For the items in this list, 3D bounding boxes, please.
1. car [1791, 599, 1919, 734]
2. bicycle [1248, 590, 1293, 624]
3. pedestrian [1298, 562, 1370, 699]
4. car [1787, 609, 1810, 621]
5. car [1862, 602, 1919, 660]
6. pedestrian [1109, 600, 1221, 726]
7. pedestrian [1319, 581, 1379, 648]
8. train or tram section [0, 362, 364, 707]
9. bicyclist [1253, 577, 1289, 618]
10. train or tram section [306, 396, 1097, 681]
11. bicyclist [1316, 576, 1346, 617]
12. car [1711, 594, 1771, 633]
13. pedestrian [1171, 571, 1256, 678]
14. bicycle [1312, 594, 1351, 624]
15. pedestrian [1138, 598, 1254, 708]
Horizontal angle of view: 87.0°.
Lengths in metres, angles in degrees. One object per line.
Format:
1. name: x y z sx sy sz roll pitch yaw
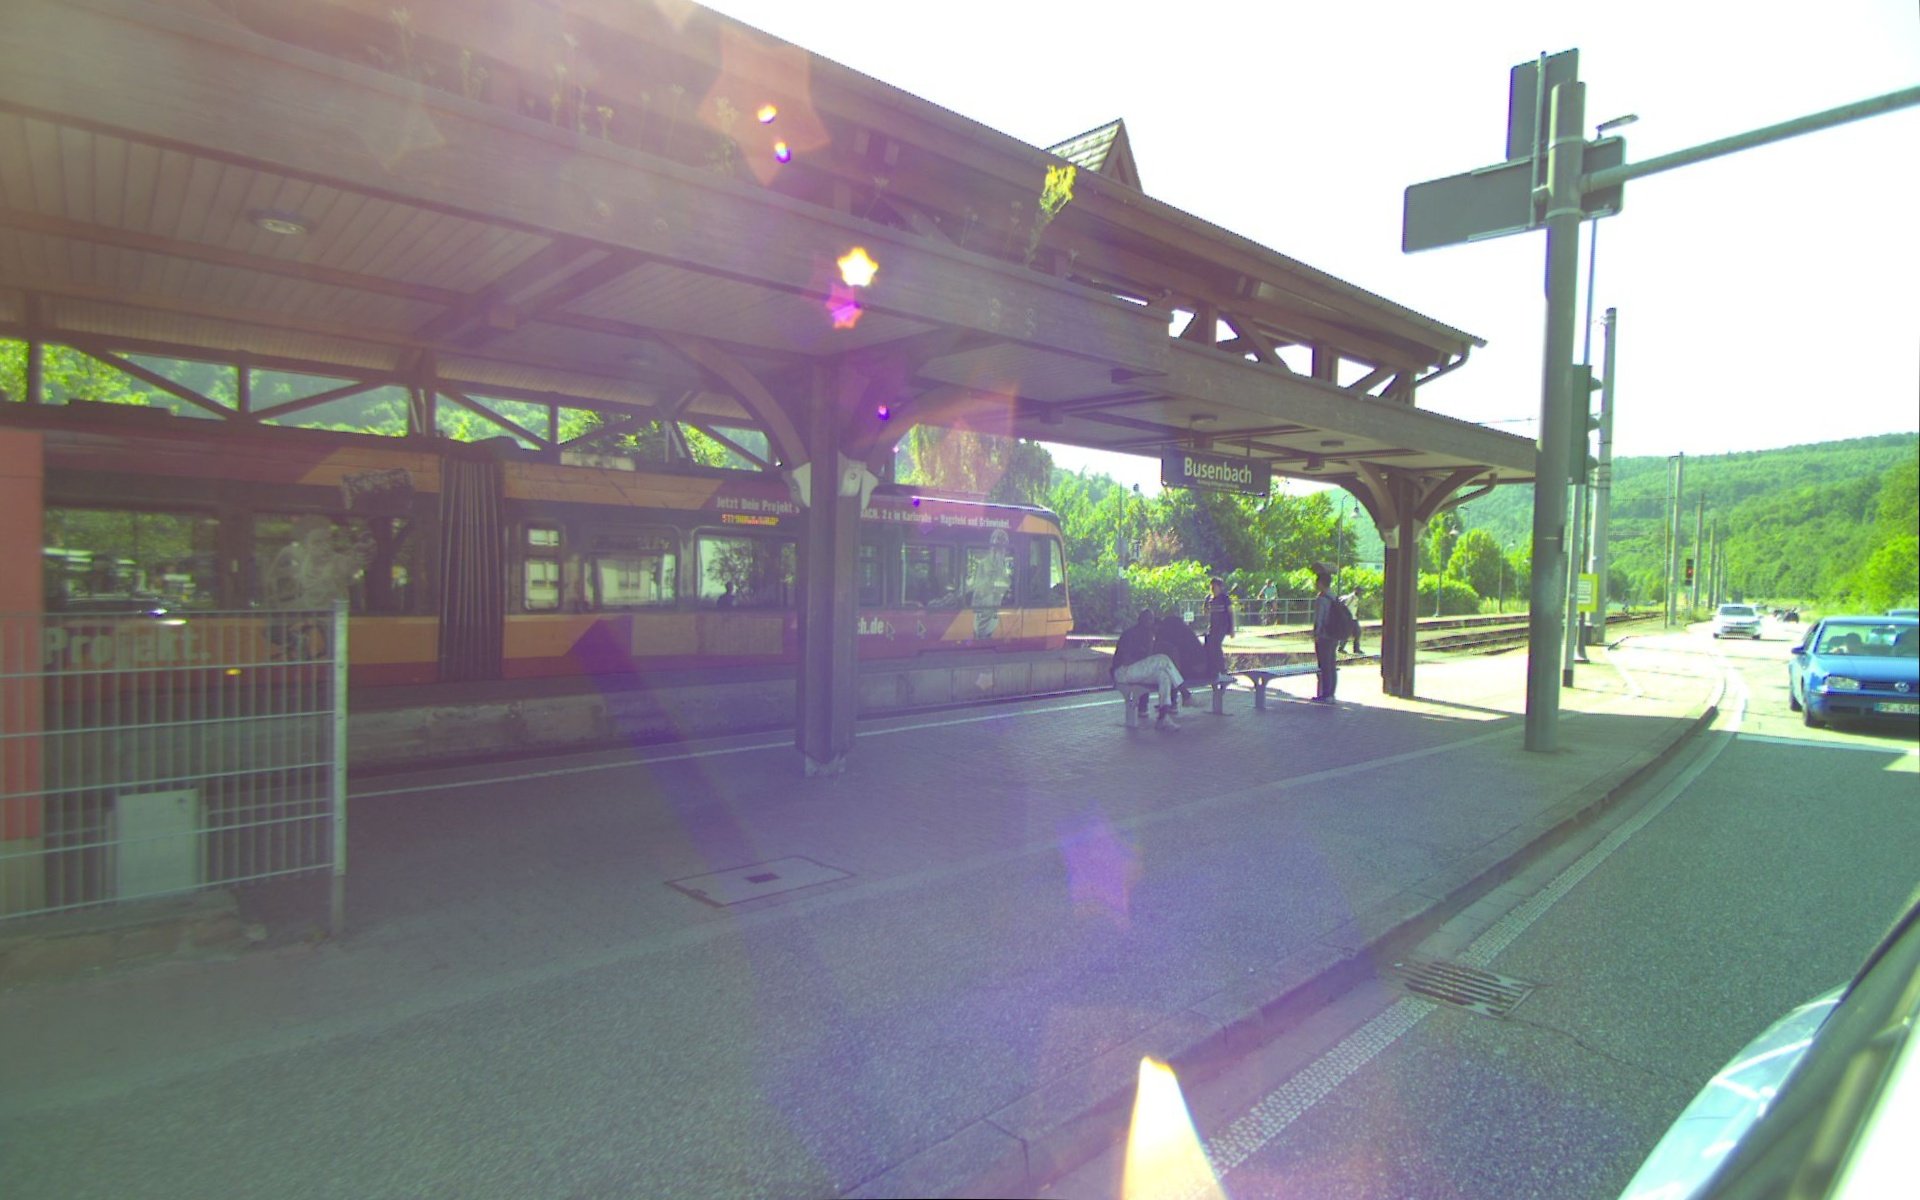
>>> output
1. car: 12.220 0.772 13.206 1.856 1.501 4.245 2 1 36
2. bicycle: 12.174 0.287 39.636 0.870 1.270 2.260 -1 -2 42
3. pedestrian: 4.883 0.379 13.194 0.655 1.713 0.729 2 1 39
4. car: 119.867 2.164 144.636 1.985 1.705 3.953 0 -1 32
5. car: 26.687 0.856 28.084 1.968 1.523 3.936 0 -1 35
6. pedestrian: 2.140 0.633 10.581 0.989 1.251 0.588 -1 -2 39
7. pedestrian: 10.515 0.398 27.369 0.899 1.759 1.251 2 -2 -36
8. train or tram section: -12.444 -0.628 9.197 11.842 3.407 2.790 0 0 -42
9. bicyclist: 12.149 -0.087 39.558 1.006 1.574 1.025 -1 -2 42
10. train or tram section: -3.107 -0.751 18.044 14.115 3.407 2.858 0 0 -44
11. bicyclist: 16.298 -0.155 44.464 1.006 1.748 0.853 -1 -2 42
12. car: 34.106 0.586 44.235 1.989 1.605 3.945 0 -1 38
13. pedestrian: 3.878 0.361 15.489 0.907 1.567 0.861 2 0 -43
14. bicycle: 16.341 0.397 44.521 0.870 1.270 2.260 -1 -2 42
15. pedestrian: 2.727 0.578 11.678 1.004 1.174 0.935 1 1 39
